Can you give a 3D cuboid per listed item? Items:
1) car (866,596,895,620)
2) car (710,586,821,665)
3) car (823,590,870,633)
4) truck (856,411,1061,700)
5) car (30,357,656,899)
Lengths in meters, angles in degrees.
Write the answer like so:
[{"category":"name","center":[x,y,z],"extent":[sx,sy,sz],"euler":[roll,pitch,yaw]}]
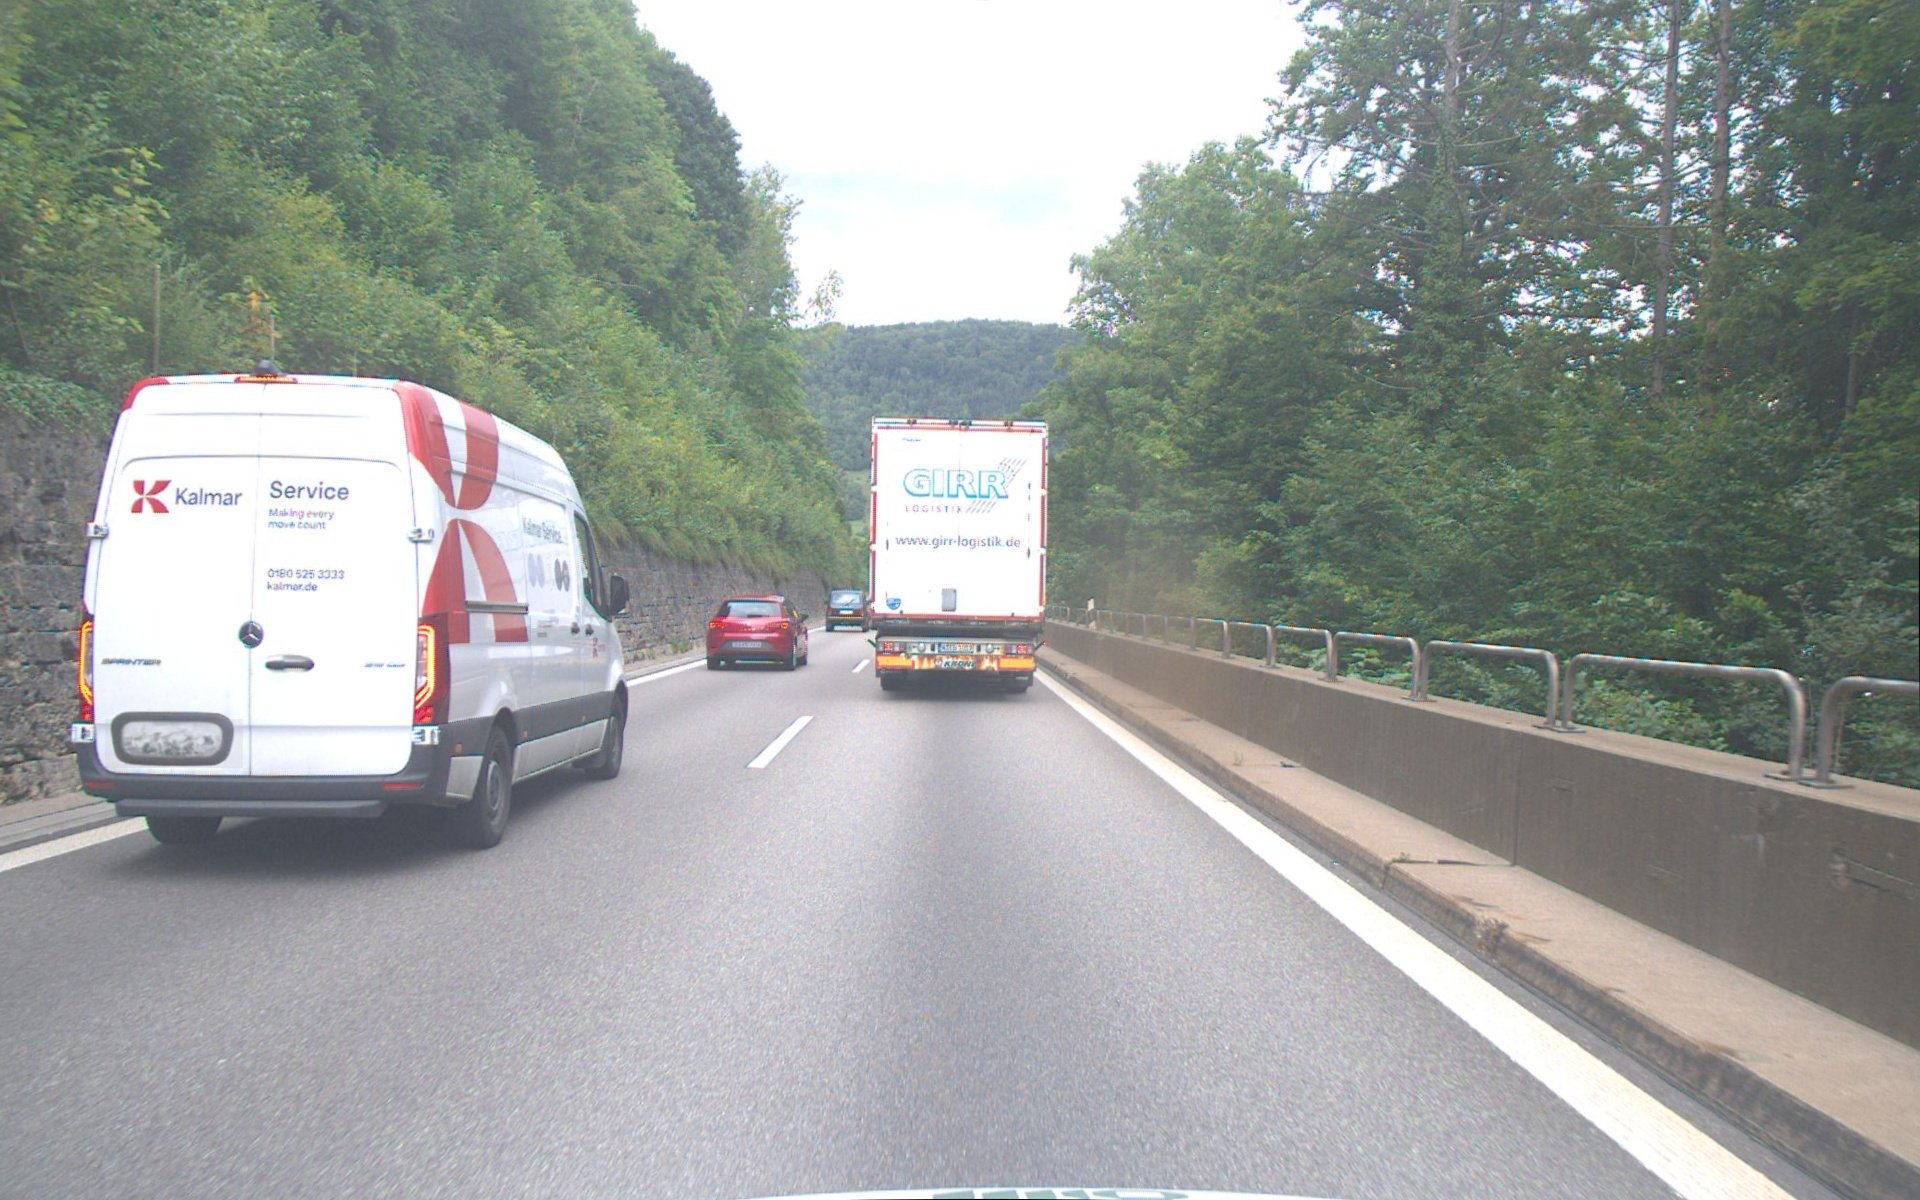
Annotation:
[{"category":"car","center":[-5.036,0.498,104.659],"extent":[1.694,1.512,3.999],"euler":[0,0,-1]},{"category":"car","center":[-3.856,0.492,33.336],"extent":[1.730,1.485,4.411],"euler":[0,0,0]},{"category":"car","center":[-4.525,0.456,66.457],"extent":[1.635,1.667,4.067],"euler":[0,0,-1]},{"category":"truck","center":[-0.014,-0.617,27.651],"extent":[2.849,4.030,9.278],"euler":[0,0,0]},{"category":"car","center":[-3.571,0.147,11.192],"extent":[1.985,2.630,6.273],"euler":[0,0,-1]}]
